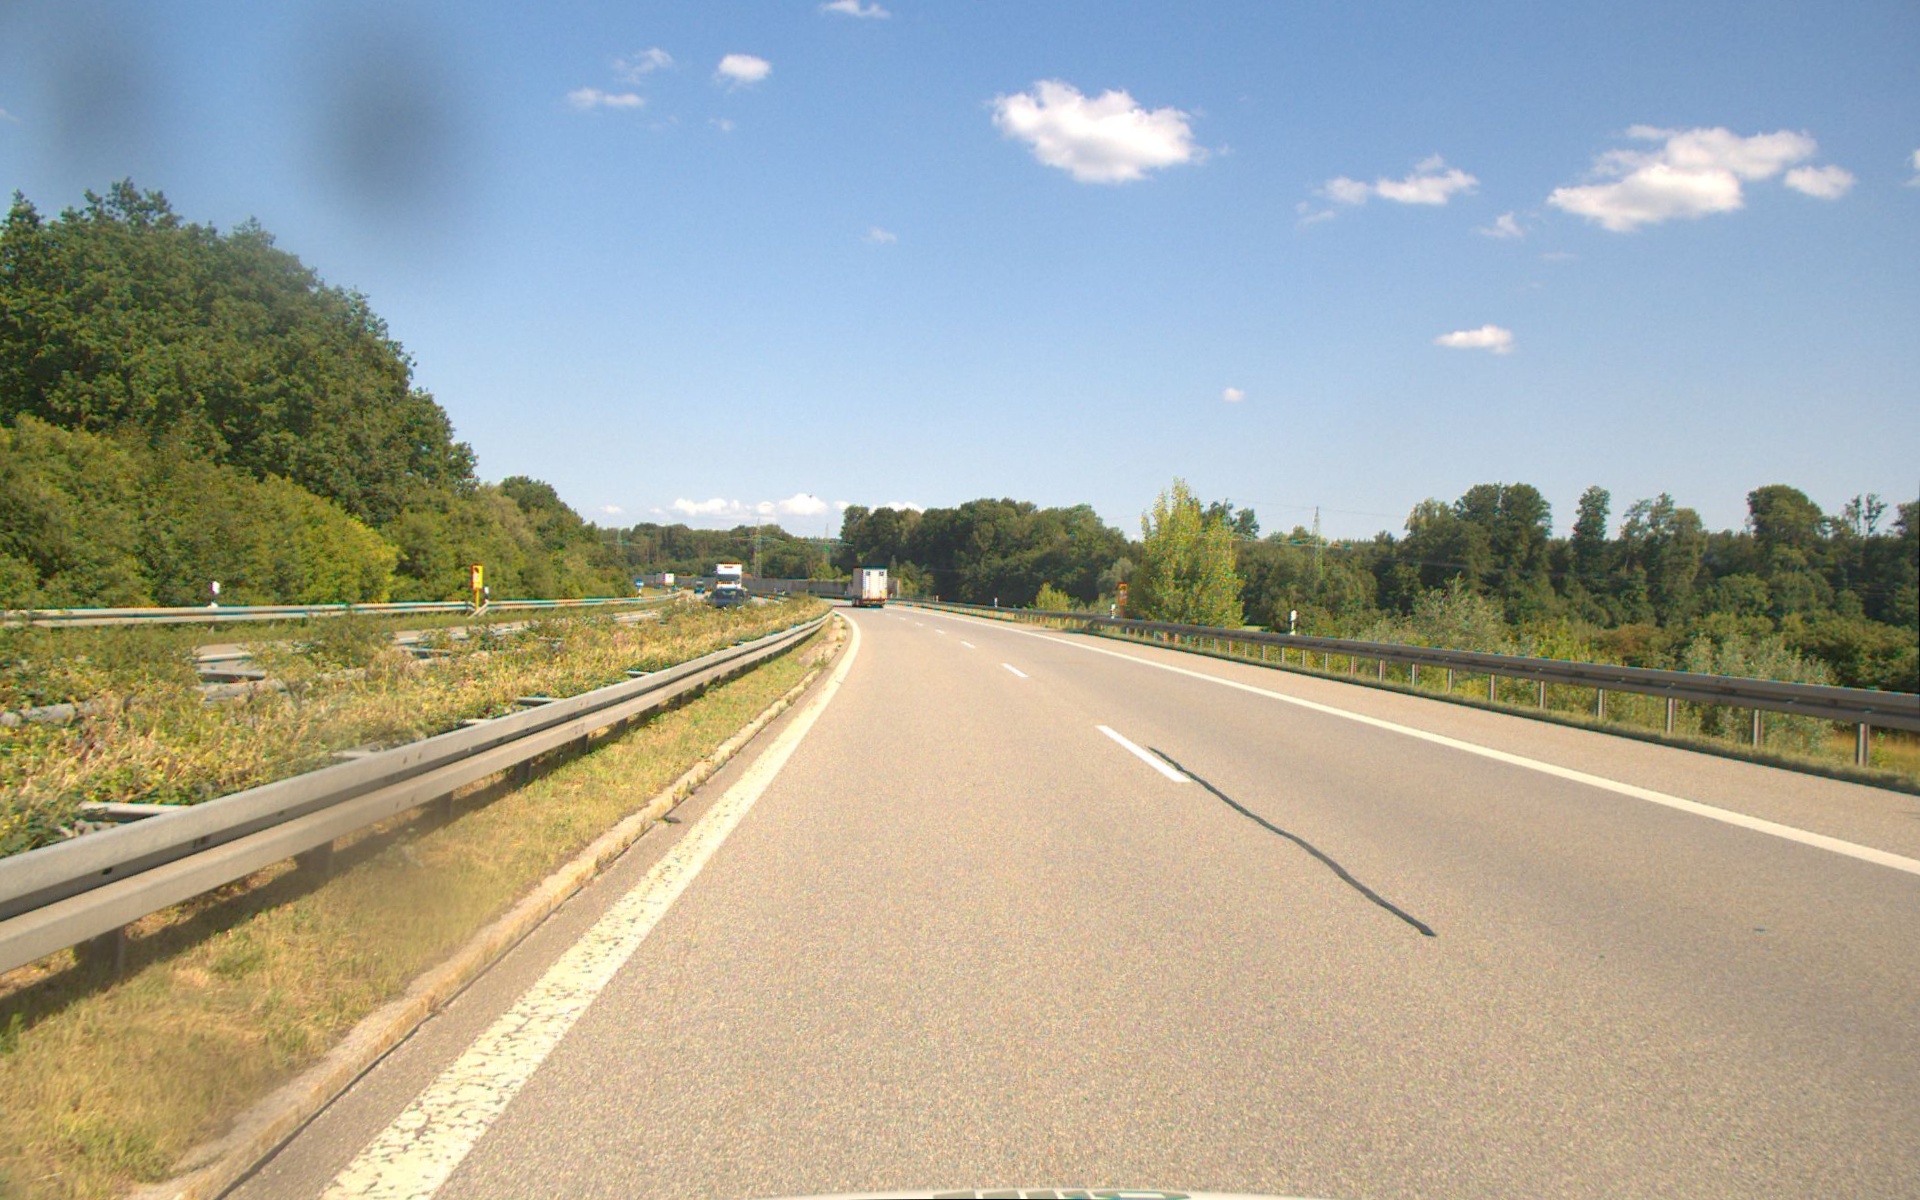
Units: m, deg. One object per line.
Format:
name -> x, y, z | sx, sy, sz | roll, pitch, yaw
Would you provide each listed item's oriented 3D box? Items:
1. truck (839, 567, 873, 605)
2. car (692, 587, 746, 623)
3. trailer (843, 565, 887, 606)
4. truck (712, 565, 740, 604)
truck -> -11.467, -1.579, 181.798 | 2.780, 4.082, 6.568 | 0, 0, -11
car -> -9.891, 0.199, 68.037 | 1.694, 1.453, 3.880 | 0, 0, -1
trailer -> -10.169, -1.521, 175.601 | 2.833, 4.137, 12.384 | 0, 1, -12
truck -> -23.065, -1.502, 163.138 | 2.689, 3.792, 5.961 | 0, 0, -8
